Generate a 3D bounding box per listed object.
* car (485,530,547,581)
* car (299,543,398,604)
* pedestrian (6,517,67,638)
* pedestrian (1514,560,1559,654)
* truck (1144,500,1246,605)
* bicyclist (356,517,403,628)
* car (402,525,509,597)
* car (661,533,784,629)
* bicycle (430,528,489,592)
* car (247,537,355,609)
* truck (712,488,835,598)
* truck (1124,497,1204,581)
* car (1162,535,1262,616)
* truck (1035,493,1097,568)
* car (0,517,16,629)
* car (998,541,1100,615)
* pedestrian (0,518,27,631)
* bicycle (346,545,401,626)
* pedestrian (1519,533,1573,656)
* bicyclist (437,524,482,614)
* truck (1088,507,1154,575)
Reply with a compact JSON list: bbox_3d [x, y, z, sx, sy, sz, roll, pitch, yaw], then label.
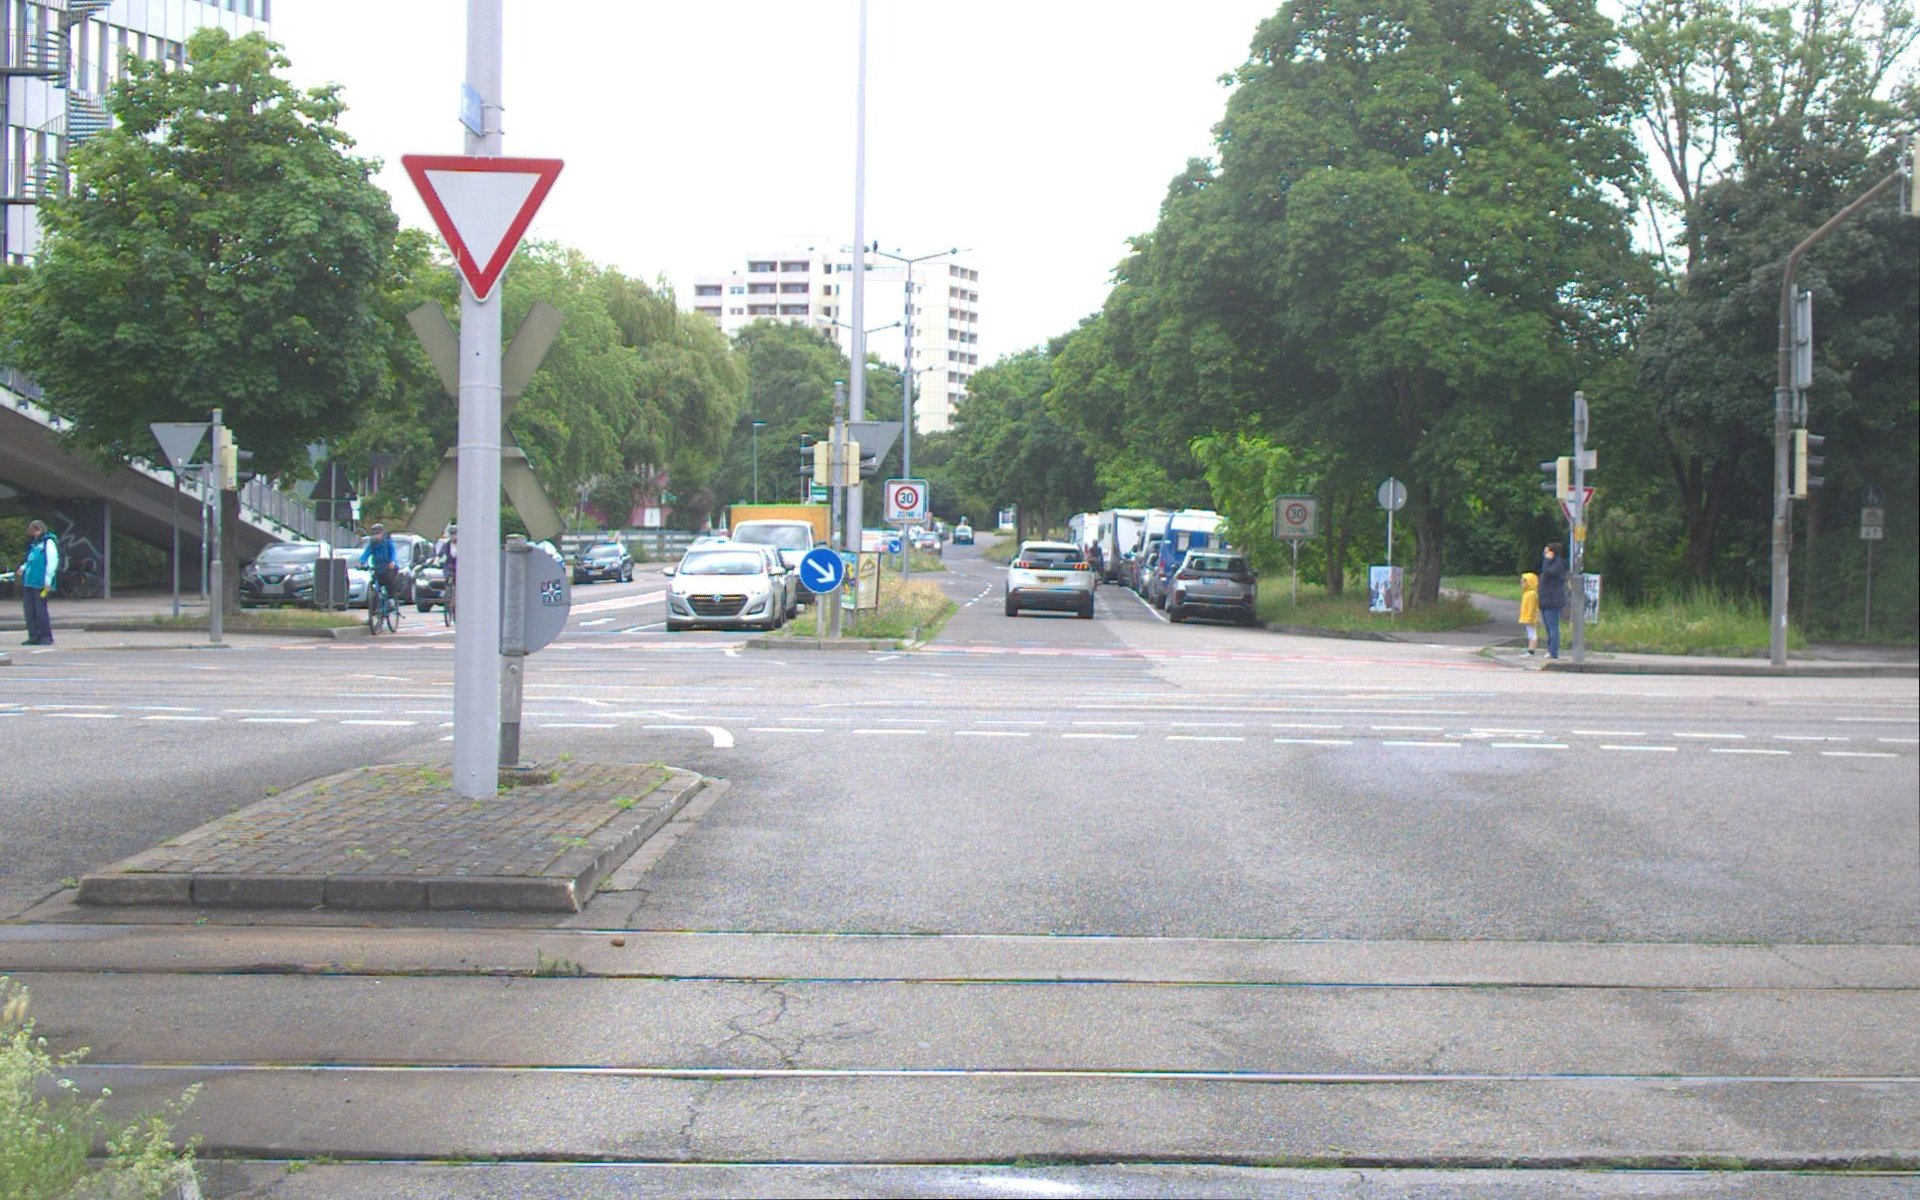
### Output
[{"bbox_3d":[-13.888,-1.394,107.699,1.444,1.546,3.664,1,1,0],"label":"car"},{"bbox_3d":[-14.752,-0.659,83.142,1.671,1.382,3.895,1,1,0],"label":"car"},{"bbox_3d":[-12.307,-0.304,45.836,0.687,1.599,0.488,1,1,-5],"label":"pedestrian"},{"bbox_3d":[8.357,0.099,49.858,0.527,1.337,0.525,1,1,-1],"label":"pedestrian"},{"bbox_3d":[6.151,-1.242,90.721,2.174,2.647,6.247,0,1,-1],"label":"truck"},{"bbox_3d":[-9.381,-0.451,55.558,0.644,1.762,0.647,1,1,-1],"label":"bicyclist"},{"bbox_3d":[-11.203,-0.884,76.614,1.671,1.546,4.000,1,1,2],"label":"car"},{"bbox_3d":[-3.963,-0.356,57.904,1.789,1.514,4.326,1,1,-1],"label":"car"},{"bbox_3d":[-8.868,-0.712,60.949,0.726,1.097,2.264,1,1,-1],"label":"bicycle"},{"bbox_3d":[-14.855,-0.624,77.646,1.671,1.546,3.892,1,1,0],"label":"car"},{"bbox_3d":[-3.861,-1.207,72.081,2.155,2.191,5.840,1,1,1],"label":"truck"},{"bbox_3d":[7.100,-2.123,120.063,1.993,2.828,5.732,1,1,-4],"label":"truck"},{"bbox_3d":[5.396,-0.547,73.930,1.784,1.656,4.000,1,1,-1],"label":"car"},{"bbox_3d":[4.384,-2.858,142.923,1.993,2.998,5.773,1,1,-4],"label":"truck"},{"bbox_3d":[-16.717,-0.429,52.375,4.196,1.729,1.628,0,2,-42],"label":"car"},{"bbox_3d":[1.872,-0.493,73.600,2.020,1.500,4.000,1,1,-1],"label":"car"},{"bbox_3d":[-12.941,-0.345,45.851,0.917,1.505,0.404,1,1,-11],"label":"pedestrian"},{"bbox_3d":[-9.445,-0.240,55.420,0.543,1.263,2.111,1,1,-1],"label":"bicycle"},{"bbox_3d":[8.397,-0.086,49.268,0.657,1.744,0.459,1,1,-1],"label":"pedestrian"},{"bbox_3d":[-8.893,-0.552,61.076,0.679,1.589,0.695,1,0,-1],"label":"bicyclist"},{"bbox_3d":[6.162,-2.250,132.136,1.993,2.564,5.379,1,1,-2],"label":"truck"}]
